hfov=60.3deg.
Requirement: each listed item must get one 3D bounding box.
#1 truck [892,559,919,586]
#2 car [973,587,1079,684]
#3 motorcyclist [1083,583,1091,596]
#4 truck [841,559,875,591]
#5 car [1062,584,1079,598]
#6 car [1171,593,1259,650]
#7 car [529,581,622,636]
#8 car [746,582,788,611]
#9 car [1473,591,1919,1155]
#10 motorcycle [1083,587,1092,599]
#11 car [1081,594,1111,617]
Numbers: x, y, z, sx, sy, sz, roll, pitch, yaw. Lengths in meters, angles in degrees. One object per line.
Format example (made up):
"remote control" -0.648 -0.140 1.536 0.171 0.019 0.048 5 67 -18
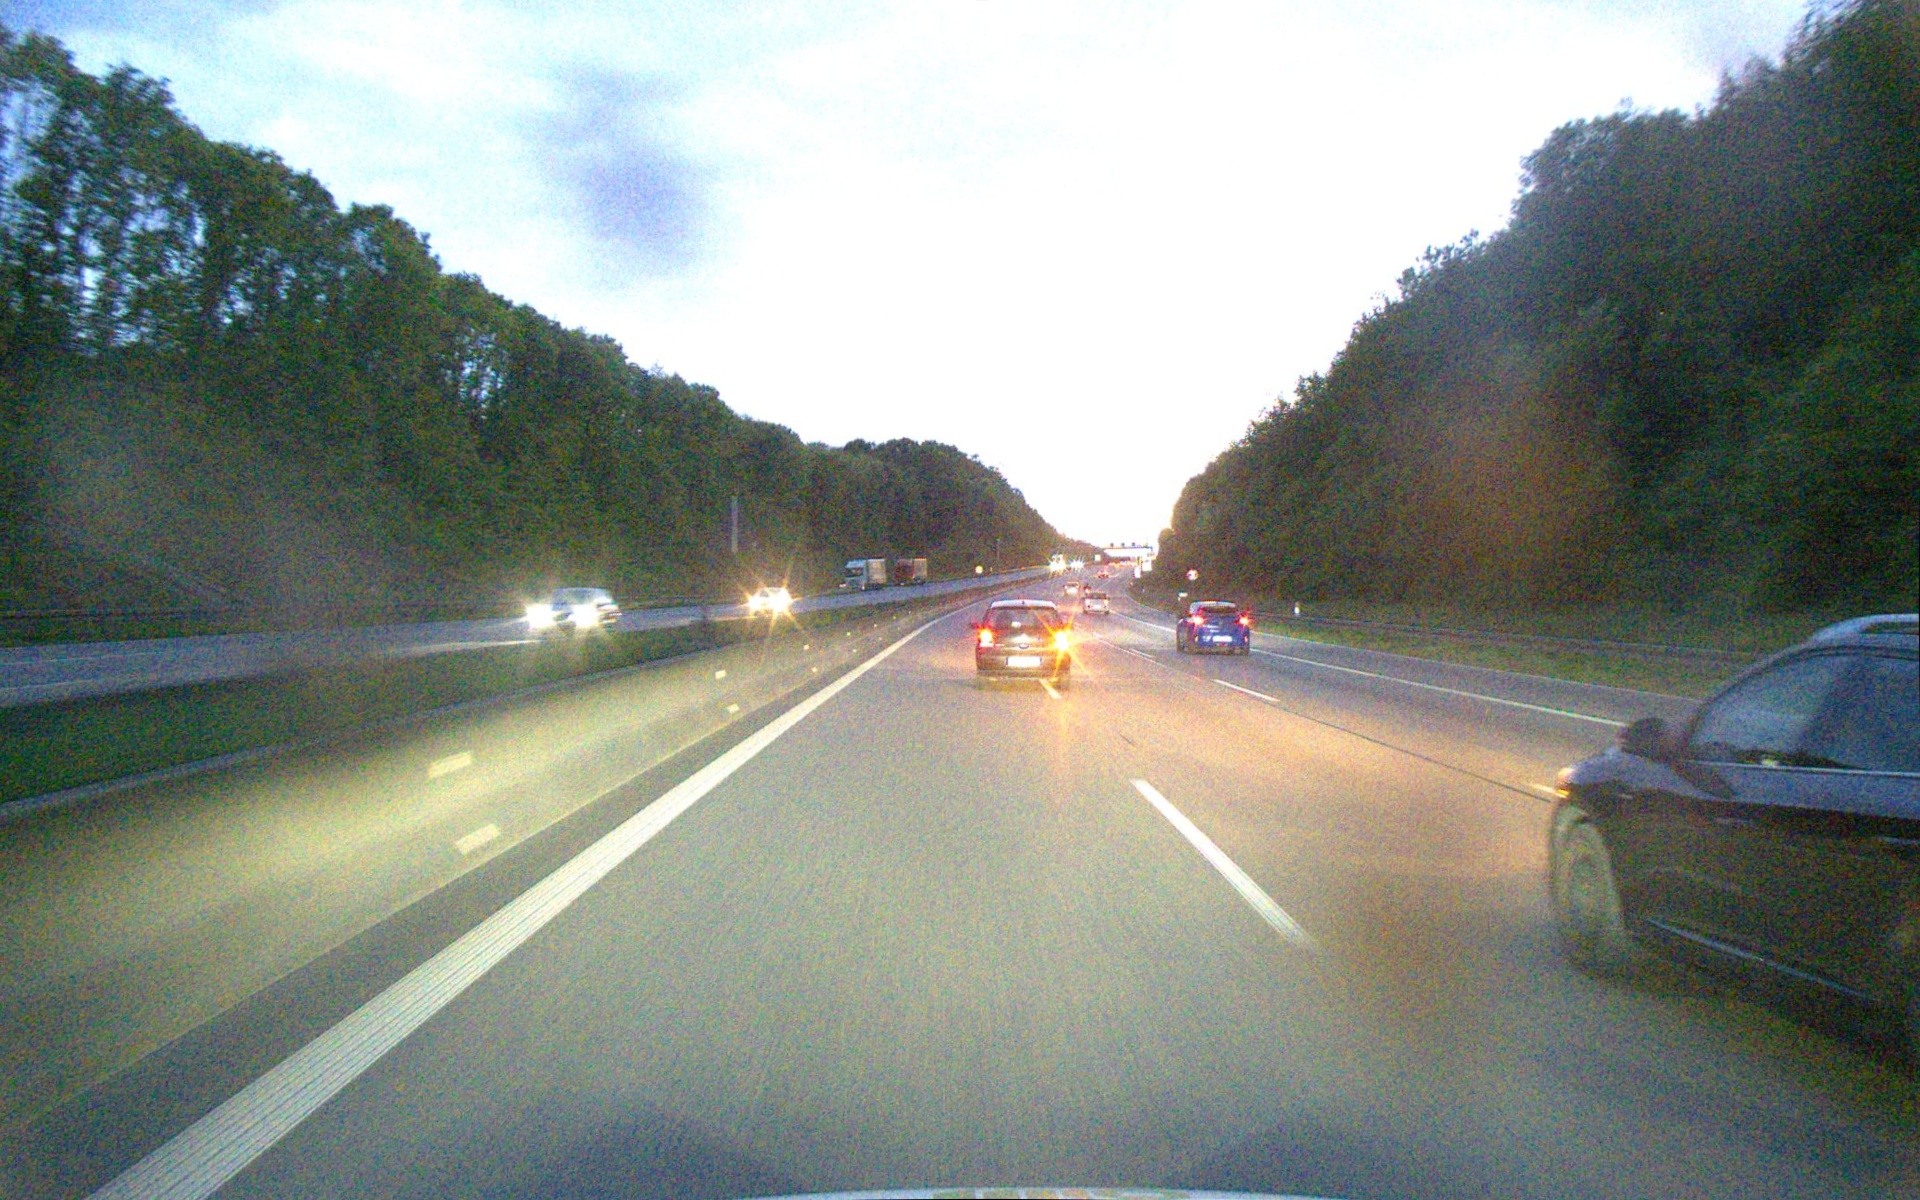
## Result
"truck" -8.575 -4.346 261.007 3.123 4.176 7.696 0 1 8
"car" 1.081 0.562 28.704 1.669 1.535 4.232 1 0 0
"motorcyclist" 13.339 -1.074 173.669 0.812 1.314 1.191 -1 1 7
"truck" -13.536 -3.334 220.322 3.123 4.176 7.696 0 1 8
"car" 12.642 -1.064 190.004 1.826 1.520 4.400 1 0 3
"car" 7.202 0.565 47.107 1.827 1.460 4.584 1 1 1
"car" -11.098 0.216 47.991 1.783 1.505 4.369 1 0 -2
"car" -10.130 -0.192 87.198 1.783 1.505 4.369 1 0 -2
"car" 3.388 0.744 5.571 1.657 1.516 4.947 1 0 -2
"motorcycle" 13.356 -0.722 173.739 0.812 1.154 2.478 -1 1 7
"car" 9.059 0.363 110.154 1.787 1.501 4.400 1 0 3
